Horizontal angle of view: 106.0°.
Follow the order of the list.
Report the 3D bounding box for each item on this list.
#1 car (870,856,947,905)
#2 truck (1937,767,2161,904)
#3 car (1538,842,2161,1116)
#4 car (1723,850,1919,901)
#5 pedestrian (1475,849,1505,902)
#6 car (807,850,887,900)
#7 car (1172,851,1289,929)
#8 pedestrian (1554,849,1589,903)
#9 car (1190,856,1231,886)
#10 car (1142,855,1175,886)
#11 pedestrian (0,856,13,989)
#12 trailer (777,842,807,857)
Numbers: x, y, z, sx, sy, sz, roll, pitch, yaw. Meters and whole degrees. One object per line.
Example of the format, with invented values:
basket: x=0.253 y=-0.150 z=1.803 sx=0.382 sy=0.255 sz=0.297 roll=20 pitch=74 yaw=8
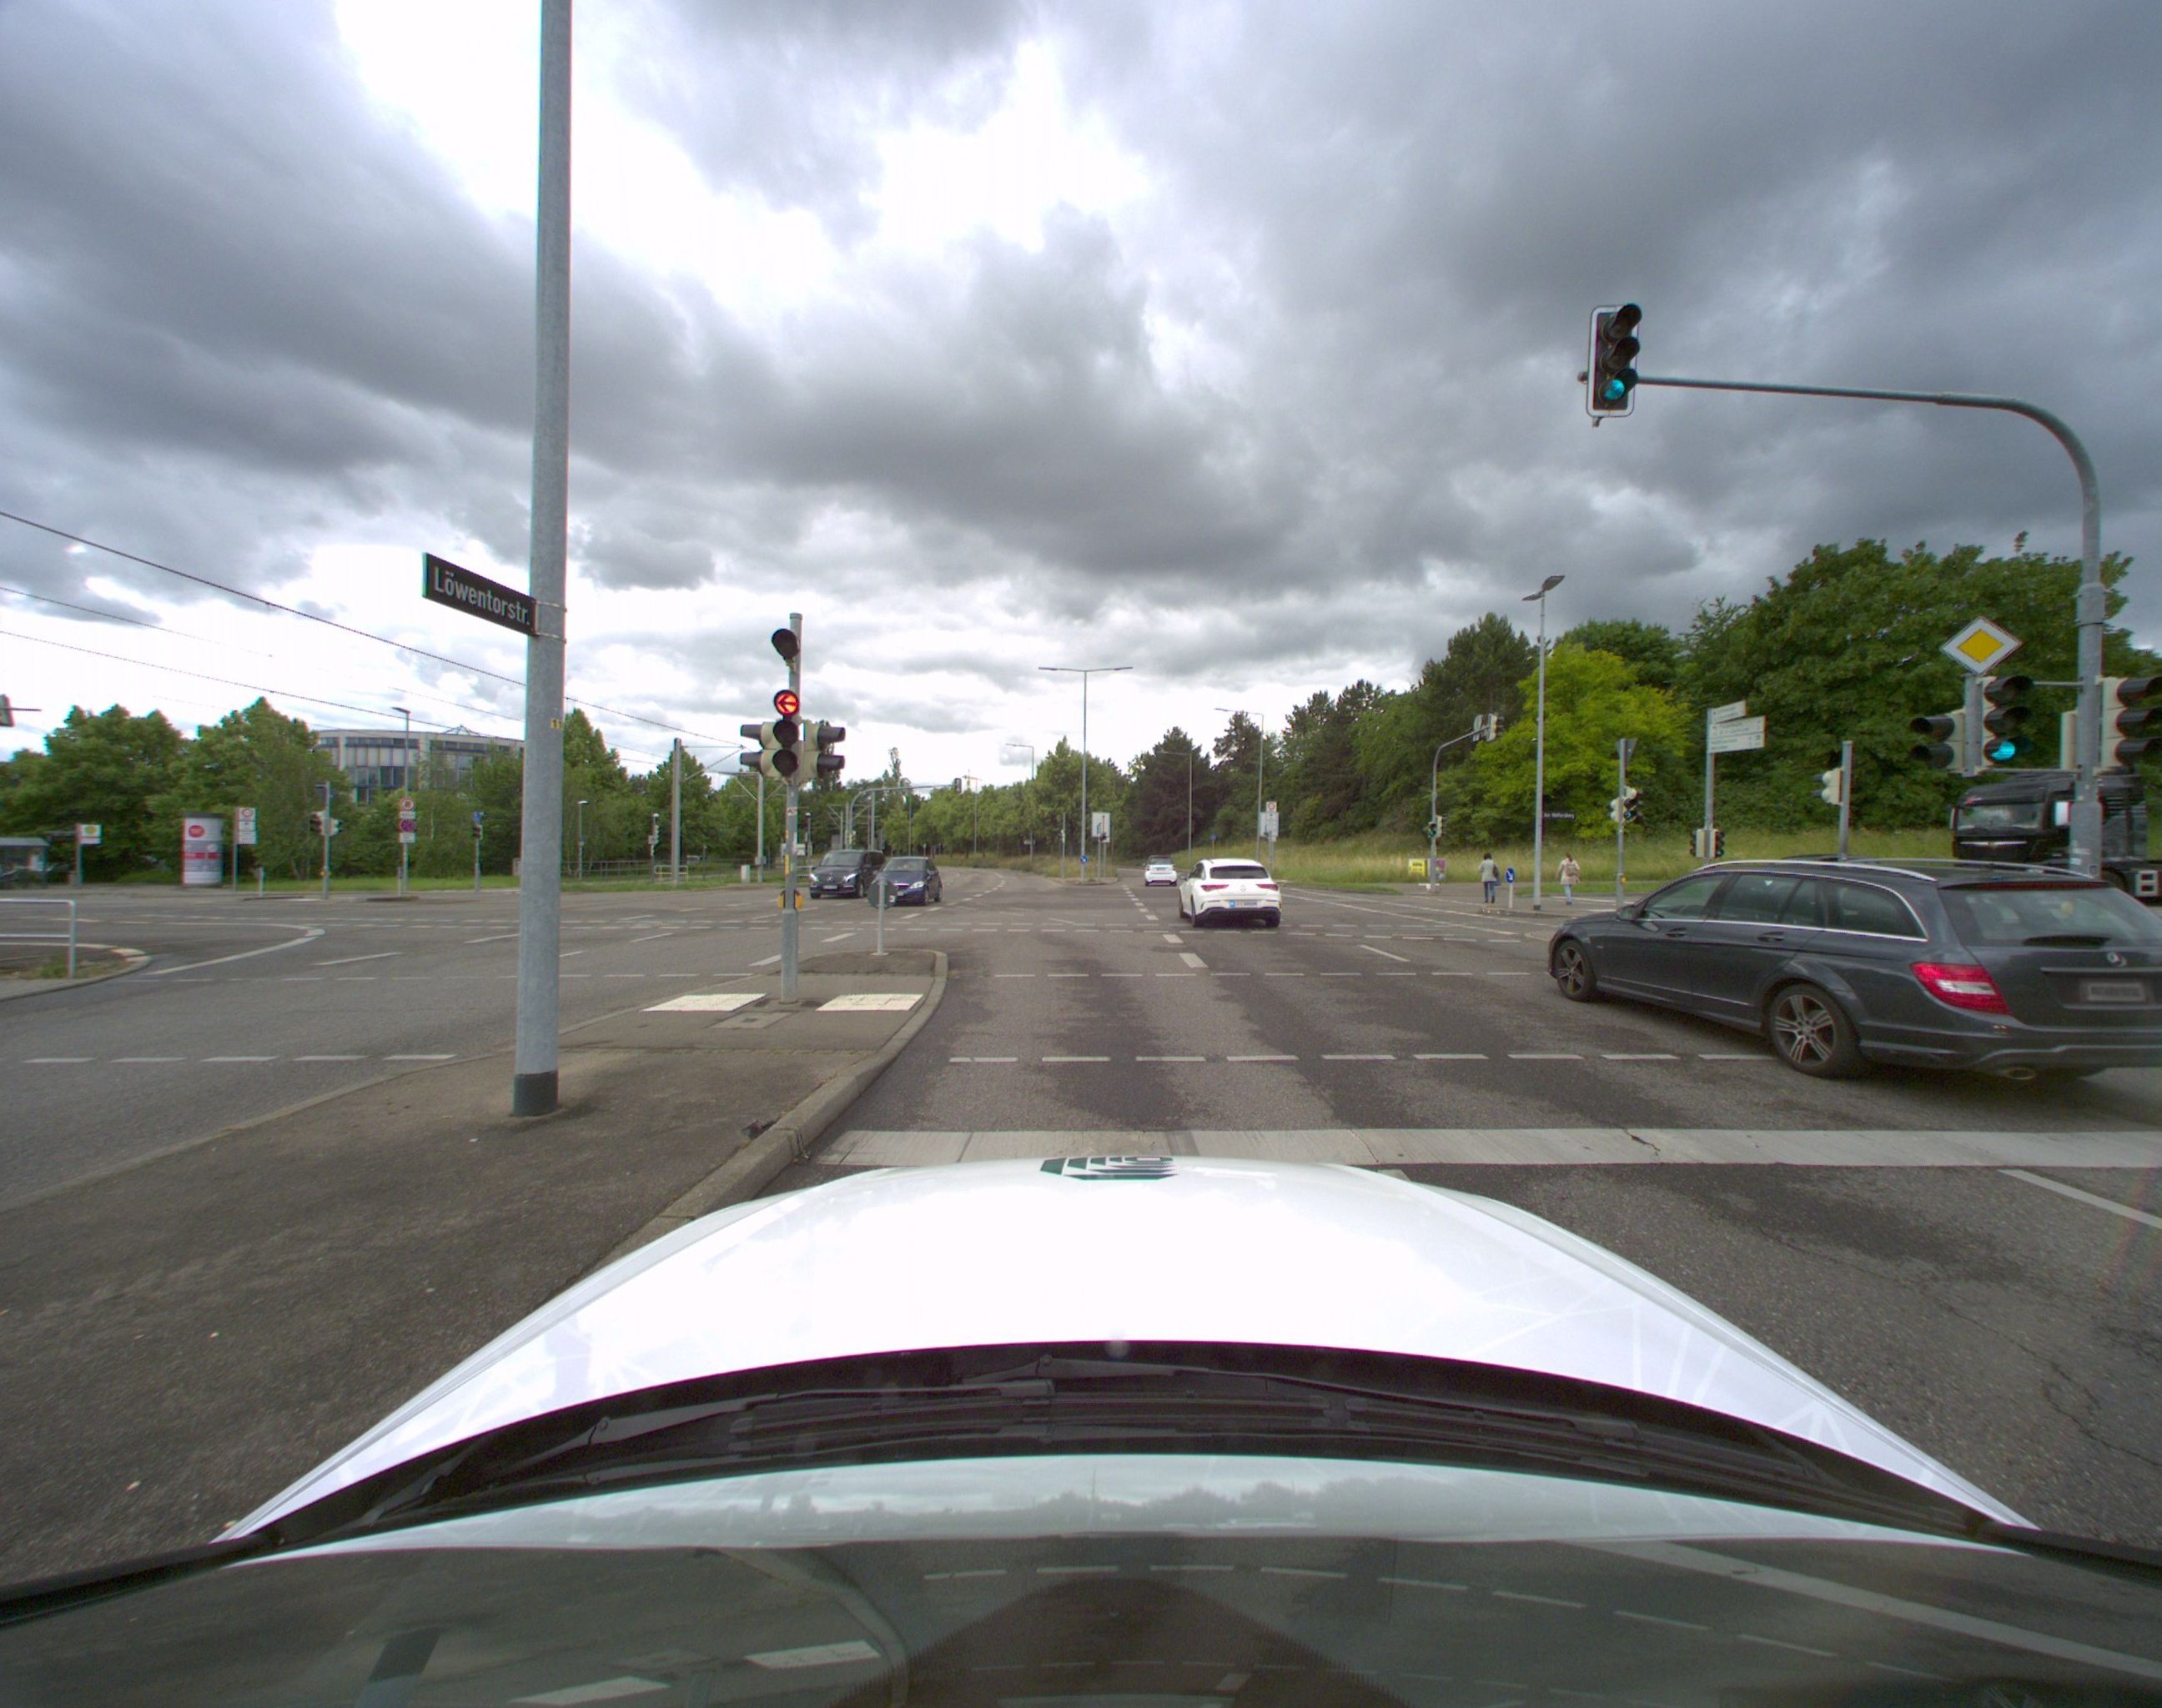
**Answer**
car: x=-5.633 y=0.833 z=27.010 sx=1.730 sy=1.508 sz=3.660 roll=0 pitch=-1 yaw=0
truck: x=27.987 y=-0.492 z=22.318 sx=5.971 sy=3.486 sz=2.694 roll=-1 pitch=-1 yaw=4
car: x=5.736 y=0.657 z=6.606 sx=1.740 sy=1.485 sz=4.358 roll=0 pitch=1 yaw=2
car: x=20.610 y=0.597 z=22.819 sx=3.859 sy=1.338 sz=1.698 roll=0 pitch=-1 yaw=4
pedestrian: x=13.151 y=0.692 z=26.196 sx=0.640 sy=1.662 sz=0.715 roll=0 pitch=-1 yaw=8
car: x=-9.176 y=0.776 z=32.342 sx=1.883 sy=1.812 sz=5.087 roll=-1 pitch=0 yaw=-3
car: x=3.194 y=0.730 z=18.283 sx=1.838 sy=1.506 sz=4.530 roll=0 pitch=-1 yaw=1
pedestrian: x=14.797 y=0.659 z=24.587 sx=0.640 sy=1.612 sz=0.715 roll=0 pitch=-1 yaw=7
car: x=6.647 y=0.849 z=42.061 sx=1.607 sy=1.453 sz=3.883 roll=0 pitch=-1 yaw=2
car: x=3.924 y=0.804 z=41.508 sx=1.585 sy=1.516 sz=2.768 roll=0 pitch=-1 yaw=3
pedestrian: x=-12.783 y=0.792 z=9.128 sx=0.632 sy=1.536 sz=0.719 roll=0 pitch=-1 yaw=-2
trailer: x=-62.100 y=-0.968 z=174.820 sx=6.010 sy=3.012 sz=2.772 roll=-1 pitch=-1 yaw=29
